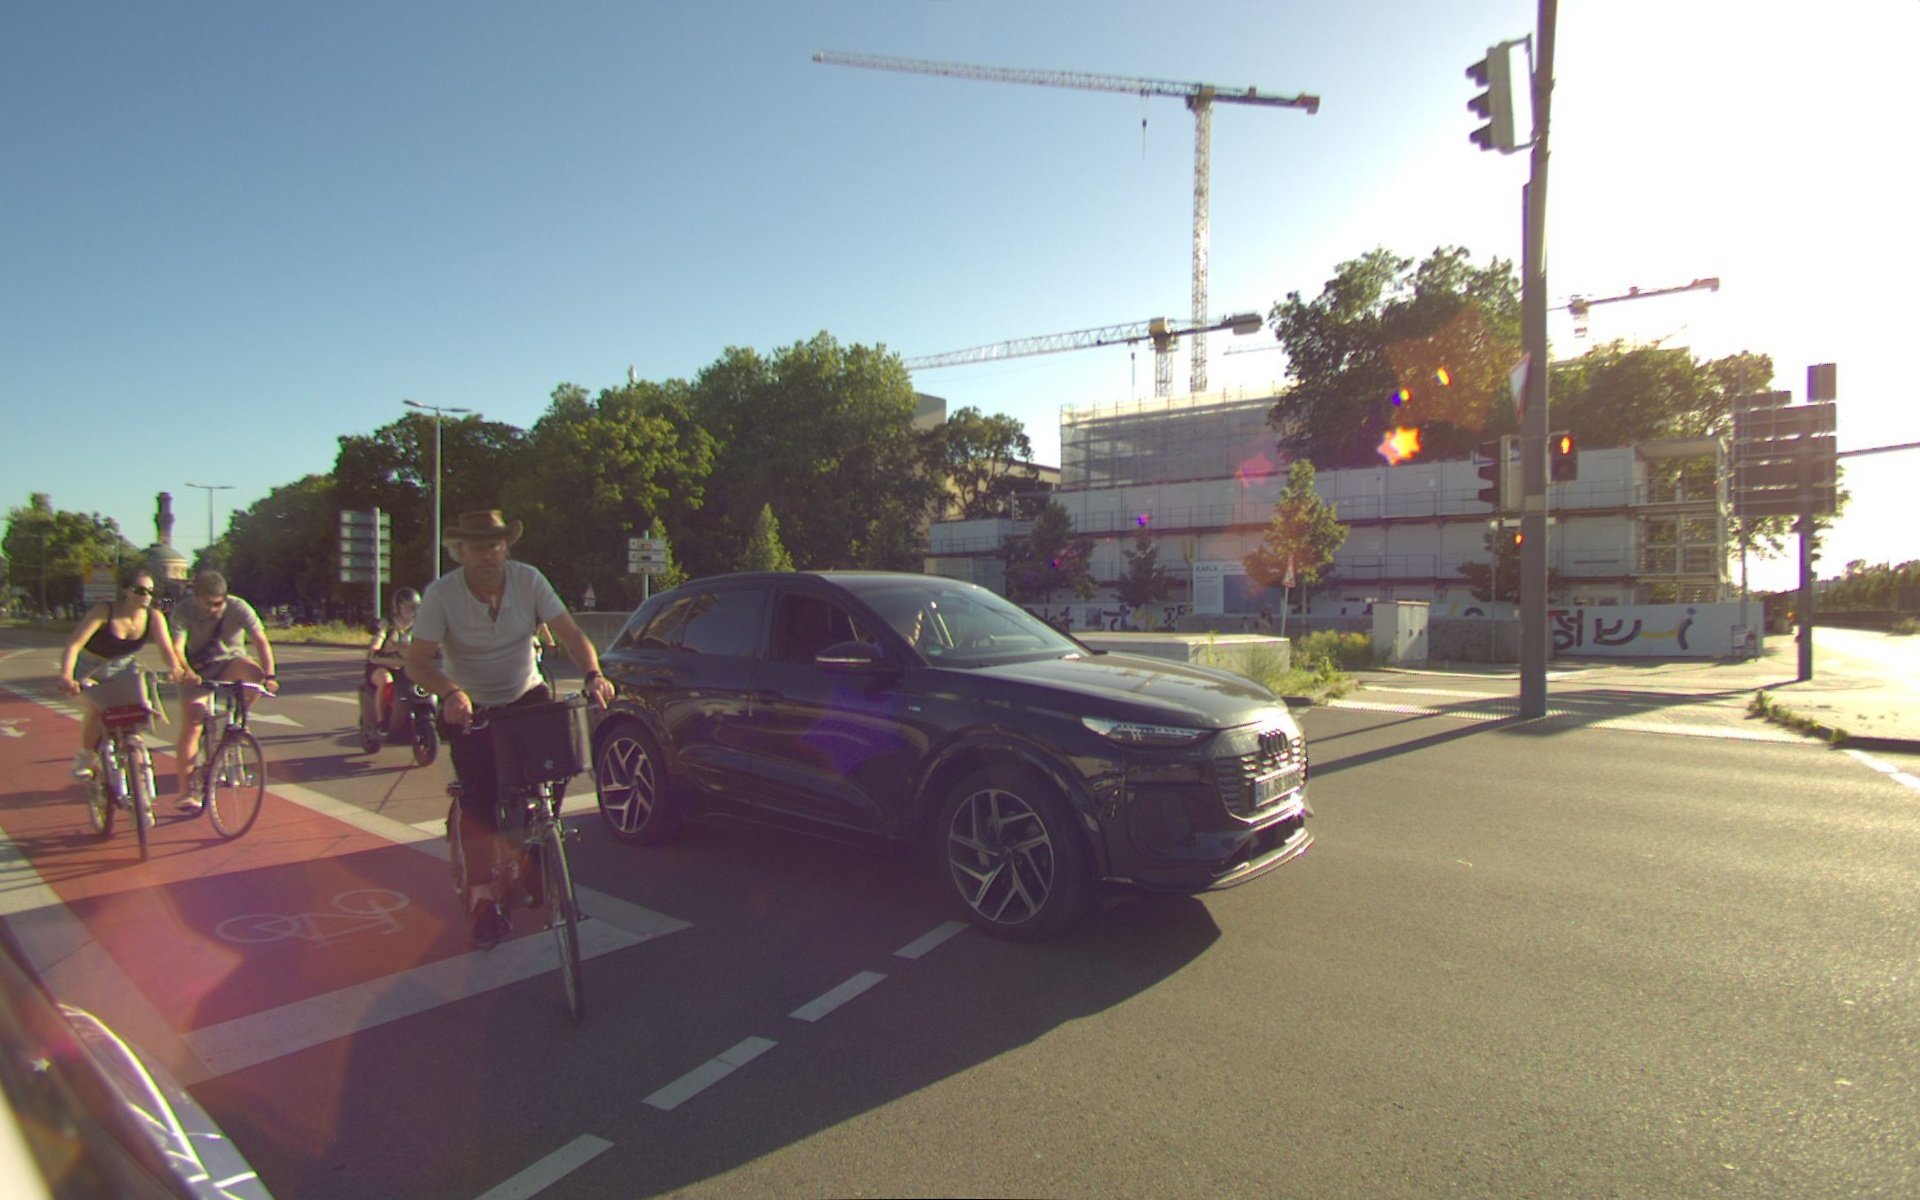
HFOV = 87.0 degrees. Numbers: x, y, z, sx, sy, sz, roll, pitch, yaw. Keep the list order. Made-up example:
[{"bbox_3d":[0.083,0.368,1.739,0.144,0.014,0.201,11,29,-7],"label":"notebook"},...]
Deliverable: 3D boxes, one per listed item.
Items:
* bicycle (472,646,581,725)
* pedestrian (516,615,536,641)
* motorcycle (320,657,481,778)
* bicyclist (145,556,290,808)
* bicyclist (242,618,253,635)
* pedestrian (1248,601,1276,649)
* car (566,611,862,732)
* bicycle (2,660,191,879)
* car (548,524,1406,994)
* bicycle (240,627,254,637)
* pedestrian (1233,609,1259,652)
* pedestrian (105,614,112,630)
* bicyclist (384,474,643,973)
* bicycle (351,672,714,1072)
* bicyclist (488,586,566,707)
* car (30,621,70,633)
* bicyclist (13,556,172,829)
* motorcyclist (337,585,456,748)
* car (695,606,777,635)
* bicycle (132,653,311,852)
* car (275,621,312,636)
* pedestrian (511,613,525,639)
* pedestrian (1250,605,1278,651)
[{"bbox_3d":[-5.735,1.090,13.338,1.911,0.915,0.616,-1,0,44],"label":"bicycle"},{"bbox_3d":[-30.522,1.949,71.175,0.964,1.796,0.984,-1,1,42],"label":"pedestrian"},{"bbox_3d":[-5.495,1.092,9.889,1.958,0.976,0.747,-1,0,41],"label":"motorcycle"},{"bbox_3d":[-5.072,0.524,6.908,0.894,1.587,0.617,-1,-1,42],"label":"bicyclist"},{"bbox_3d":[-60.100,2.235,85.317,0.768,1.377,0.609,-1,-1,43],"label":"bicyclist"},{"bbox_3d":[10.923,0.905,36.590,0.654,1.693,0.828,-1,-1,42],"label":"pedestrian"},{"bbox_3d":[-3.502,0.847,13.847,4.526,1.362,1.752,-1,0,43],"label":"car"},{"bbox_3d":[-5.418,0.965,6.311,1.799,1.102,0.643,-1,-1,41],"label":"bicycle"},{"bbox_3d":[-0.194,0.597,5.989,4.787,1.675,2.172,-1,-1,40],"label":"car"},{"bbox_3d":[-60.102,2.726,85.313,1.980,0.810,0.609,-1,-1,43],"label":"bicycle"},{"bbox_3d":[9.911,1.059,35.093,0.654,1.464,0.595,-1,-1,43],"label":"pedestrian"},{"bbox_3d":[-106.605,2.744,126.701,0.594,2.029,0.518,-1,-1,40],"label":"pedestrian"},{"bbox_3d":[-1.745,0.422,3.948,0.691,1.682,0.787,1,-1,-45],"label":"bicyclist"},{"bbox_3d":[-1.737,0.882,3.948,0.698,1.102,1.802,1,-1,-44],"label":"bicycle"},{"bbox_3d":[-5.689,0.590,13.293,0.938,1.514,0.616,-1,0,44],"label":"bicyclist"},{"bbox_3d":[-114.772,3.400,127.656,1.620,1.463,3.717,-1,0,43],"label":"car"},{"bbox_3d":[-5.402,0.536,6.302,0.847,1.554,0.643,-1,-1,42],"label":"bicyclist"},{"bbox_3d":[-5.508,0.613,9.895,0.881,1.495,0.747,-1,0,40],"label":"motorcyclist"},{"bbox_3d":[-15.305,1.357,69.279,2.001,1.906,5.253,-2,-2,44],"label":"car"},{"bbox_3d":[-5.056,0.954,6.886,1.815,1.125,0.617,-1,-1,42],"label":"bicycle"},{"bbox_3d":[-54.815,2.334,83.177,3.769,1.141,1.597,-1,0,41],"label":"car"},{"bbox_3d":[-30.380,1.775,69.540,0.697,1.740,0.655,-1,-1,42],"label":"pedestrian"},{"bbox_3d":[10.703,0.970,35.611,0.654,1.601,0.828,-1,-1,42],"label":"pedestrian"}]
